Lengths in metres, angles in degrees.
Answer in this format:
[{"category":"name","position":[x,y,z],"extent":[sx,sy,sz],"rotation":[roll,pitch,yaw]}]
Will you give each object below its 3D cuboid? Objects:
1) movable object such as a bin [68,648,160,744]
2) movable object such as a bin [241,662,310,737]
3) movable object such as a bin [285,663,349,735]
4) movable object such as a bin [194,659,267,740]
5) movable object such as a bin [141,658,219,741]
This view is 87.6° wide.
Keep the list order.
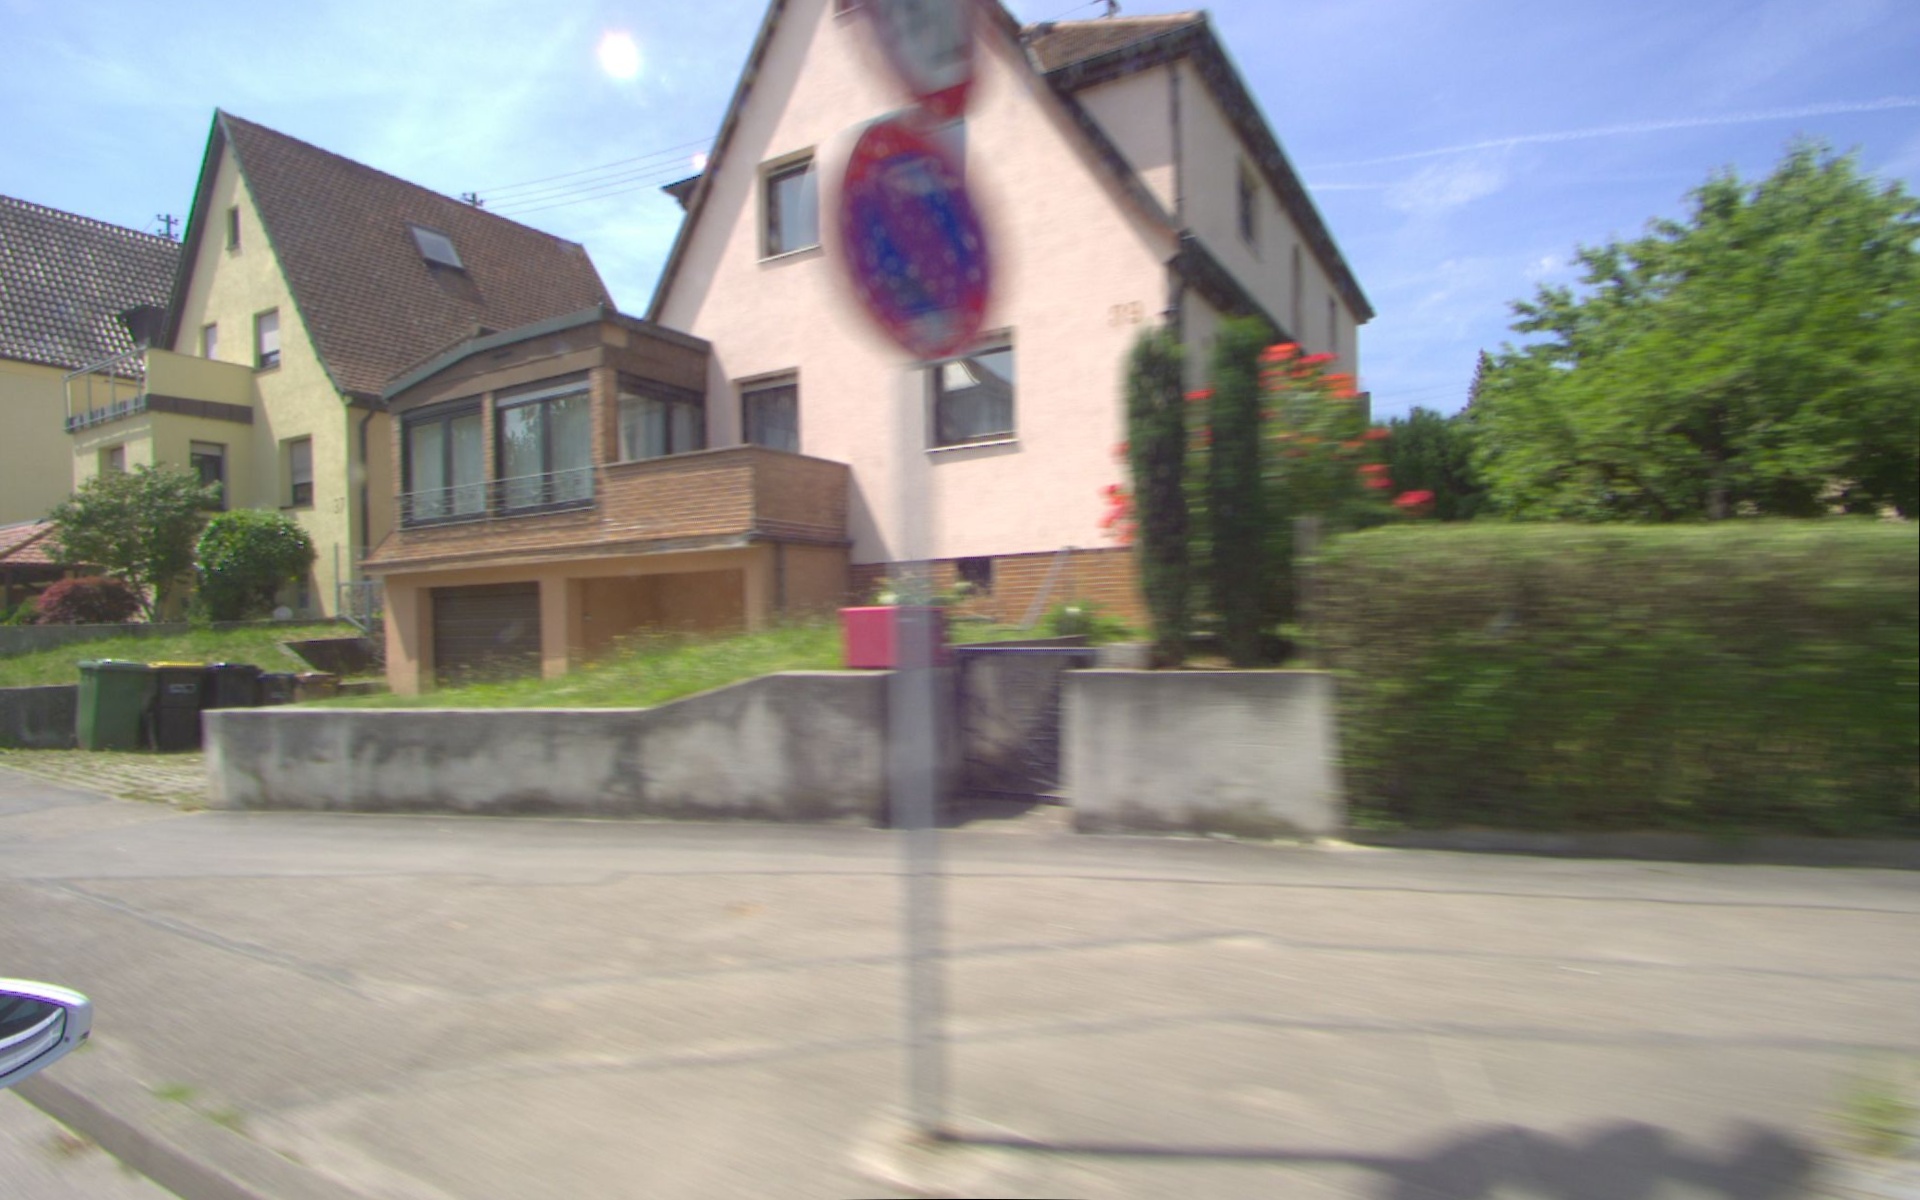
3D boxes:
[{"category":"movable object such as a bin","position":[-10.148,1.140,12.021],"extent":[0.723,1.091,0.583],"rotation":[0,-4,32]},{"category":"movable object such as a bin","position":[-9.252,1.345,13.542],"extent":[0.555,0.962,0.528],"rotation":[0,-5,32]},{"category":"movable object such as a bin","position":[-9.031,1.382,14.075],"extent":[0.555,0.963,0.528],"rotation":[0,-3,32]},{"category":"movable object such as a bin","position":[-9.510,1.295,13.059],"extent":[0.555,1.001,0.528],"rotation":[0,-5,32]},{"category":"movable object such as a bin","position":[-9.804,1.254,12.589],"extent":[0.555,1.001,0.528],"rotation":[0,-6,32]}]
